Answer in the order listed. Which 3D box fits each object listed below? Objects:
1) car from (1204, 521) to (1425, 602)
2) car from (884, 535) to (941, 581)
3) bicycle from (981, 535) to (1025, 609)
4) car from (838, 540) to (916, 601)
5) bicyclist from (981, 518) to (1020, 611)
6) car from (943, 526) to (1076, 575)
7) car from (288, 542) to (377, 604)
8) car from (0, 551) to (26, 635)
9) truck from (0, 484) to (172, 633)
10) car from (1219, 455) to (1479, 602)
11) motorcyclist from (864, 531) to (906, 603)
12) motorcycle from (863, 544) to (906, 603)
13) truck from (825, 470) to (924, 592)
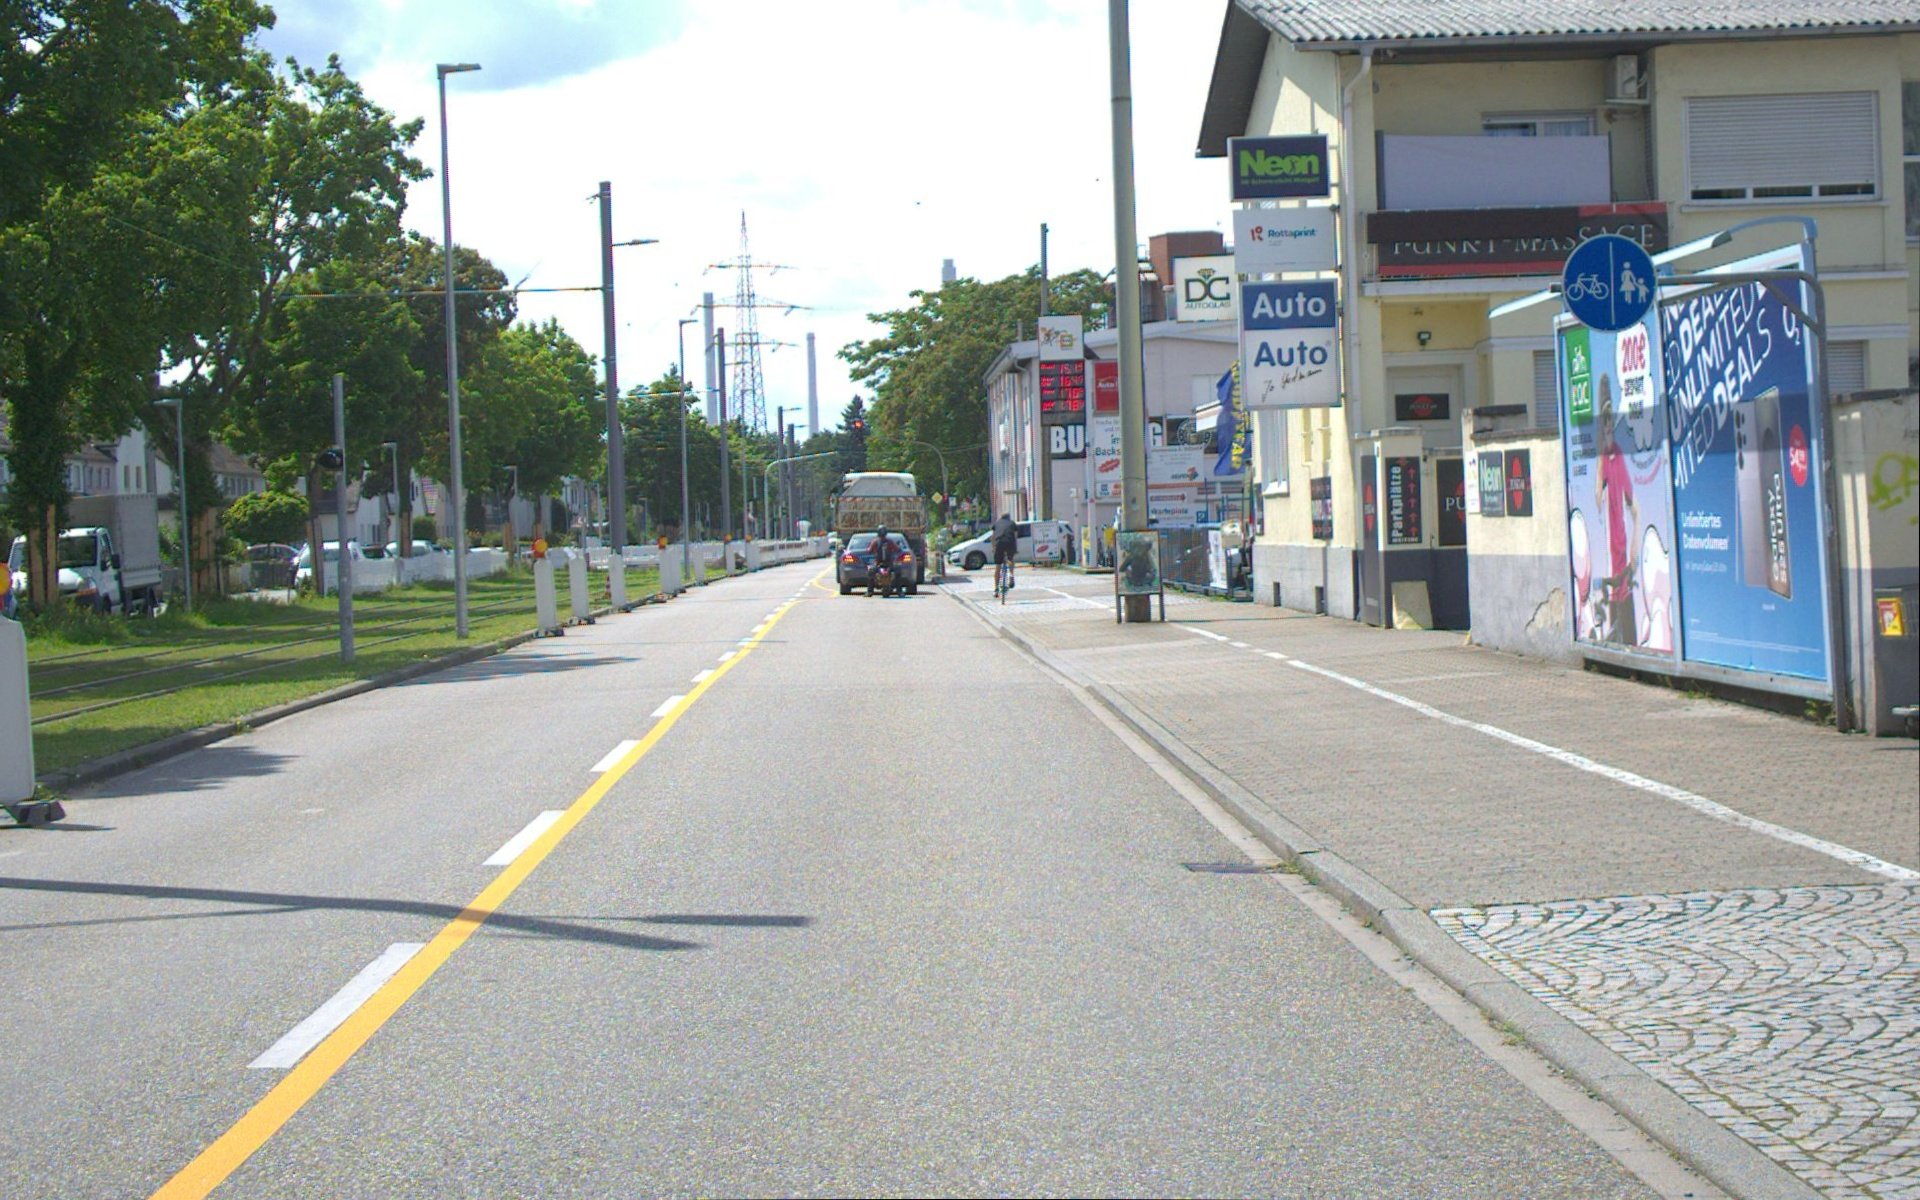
[{"bbox_3d":[6.883,-0.746,66.784,4.184,1.426,1.820,-1,0,6],"label":"car"},{"bbox_3d":[-1.559,-1.382,112.250,1.821,1.459,4.000,-1,1,-1],"label":"car"},{"bbox_3d":[0.811,-0.537,65.006,0.692,1.357,2.419,-2,1,-2],"label":"bicycle"},{"bbox_3d":[-1.991,-0.720,82.842,1.821,1.419,4.000,-1,1,-1],"label":"car"},{"bbox_3d":[0.765,-0.673,65.083,0.671,1.738,0.814,-1,1,-2],"label":"bicyclist"},{"bbox_3d":[1.735,-1.728,120.546,4.329,1.546,1.950,-2,0,-9],"label":"car"},{"bbox_3d":[-18.945,-0.814,103.957,1.993,1.744,4.000,-2,0,-1],"label":"car"},{"bbox_3d":[-17.525,-0.089,59.120,1.993,1.448,4.000,-2,0,-3],"label":"car"},{"bbox_3d":[-17.818,-0.875,70.150,1.993,2.758,6.277,-4,1,-1],"label":"truck"},{"bbox_3d":[7.195,-1.319,63.929,4.537,2.564,2.151,-1,0,1],"label":"car"},{"bbox_3d":[-1.714,-0.752,78.396,0.939,1.609,1.205,1,0,-1],"label":"motorcyclist"},{"bbox_3d":[-1.723,-0.601,78.578,0.939,1.316,2.645,1,1,-1],"label":"motorcycle"},{"bbox_3d":[-2.400,-2.054,99.010,2.610,3.244,9.183,-2,2,-1],"label":"truck"}]
